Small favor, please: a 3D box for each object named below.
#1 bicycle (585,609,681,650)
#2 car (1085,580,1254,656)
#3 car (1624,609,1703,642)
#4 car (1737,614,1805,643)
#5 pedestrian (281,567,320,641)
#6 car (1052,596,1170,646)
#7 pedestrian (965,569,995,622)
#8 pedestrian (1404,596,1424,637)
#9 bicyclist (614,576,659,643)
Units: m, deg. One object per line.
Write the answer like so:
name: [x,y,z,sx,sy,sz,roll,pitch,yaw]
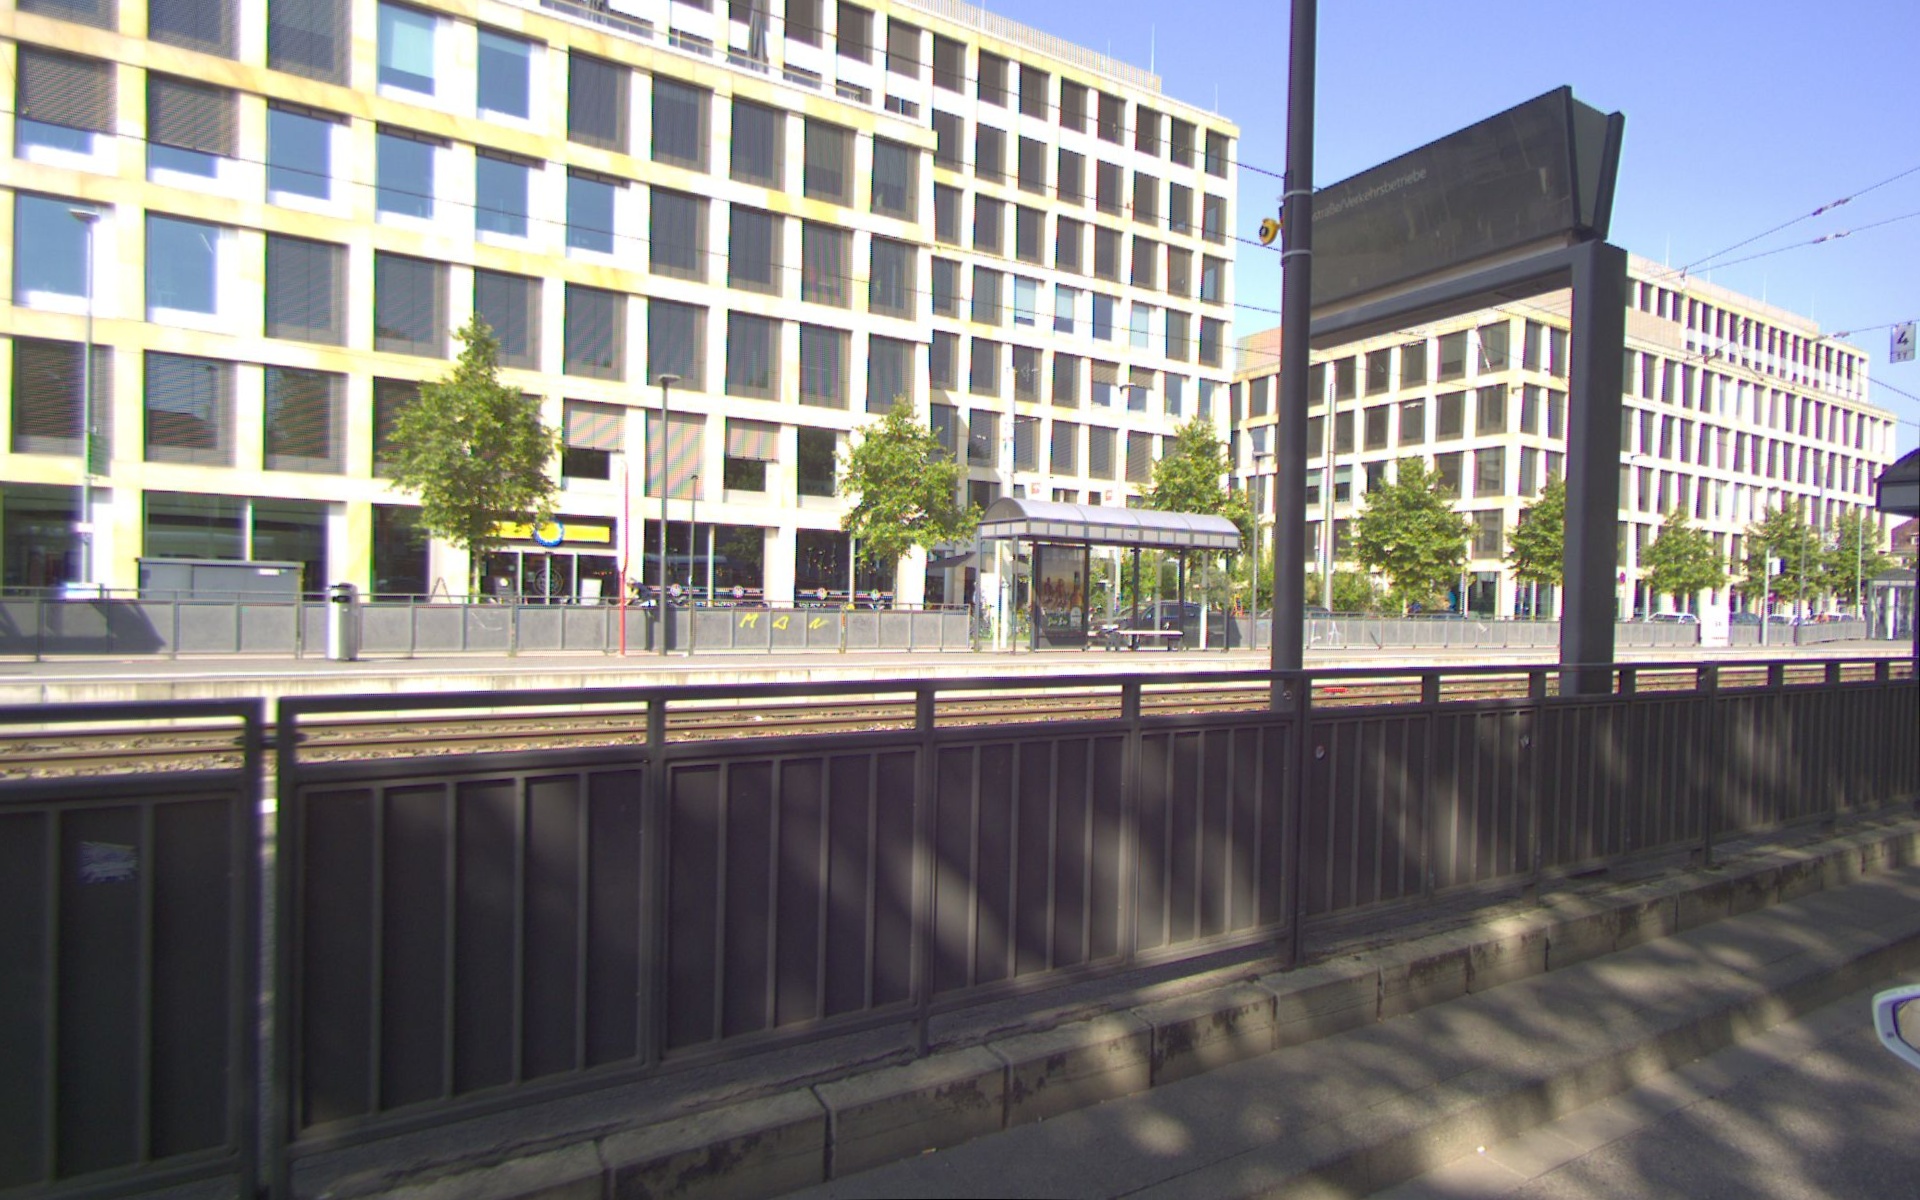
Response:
bicycle: [-7.099,0.660,21.837,1.876,0.832,0.626,3,-3,-31]
car: [5.381,0.527,25.700,3.955,1.746,1.984,3,-4,-31]
car: [34.644,1.262,49.455,4.086,1.595,1.754,1,-1,-32]
car: [45.621,1.614,56.473,4.086,1.595,1.754,1,-1,-32]
pedestrian: [-18.517,0.125,28.238,0.811,2.040,0.764,1,0,-27]
car: [4.694,0.652,31.088,3.467,1.447,1.544,1,0,-33]
pedestrian: [0.759,-0.147,38.395,0.830,1.942,0.788,3,-3,-36]
pedestrian: [22.569,0.828,49.930,0.813,2.040,0.560,2,-3,-30]
bicyclist: [-7.047,0.220,21.886,0.775,1.420,0.626,2,-3,-31]
